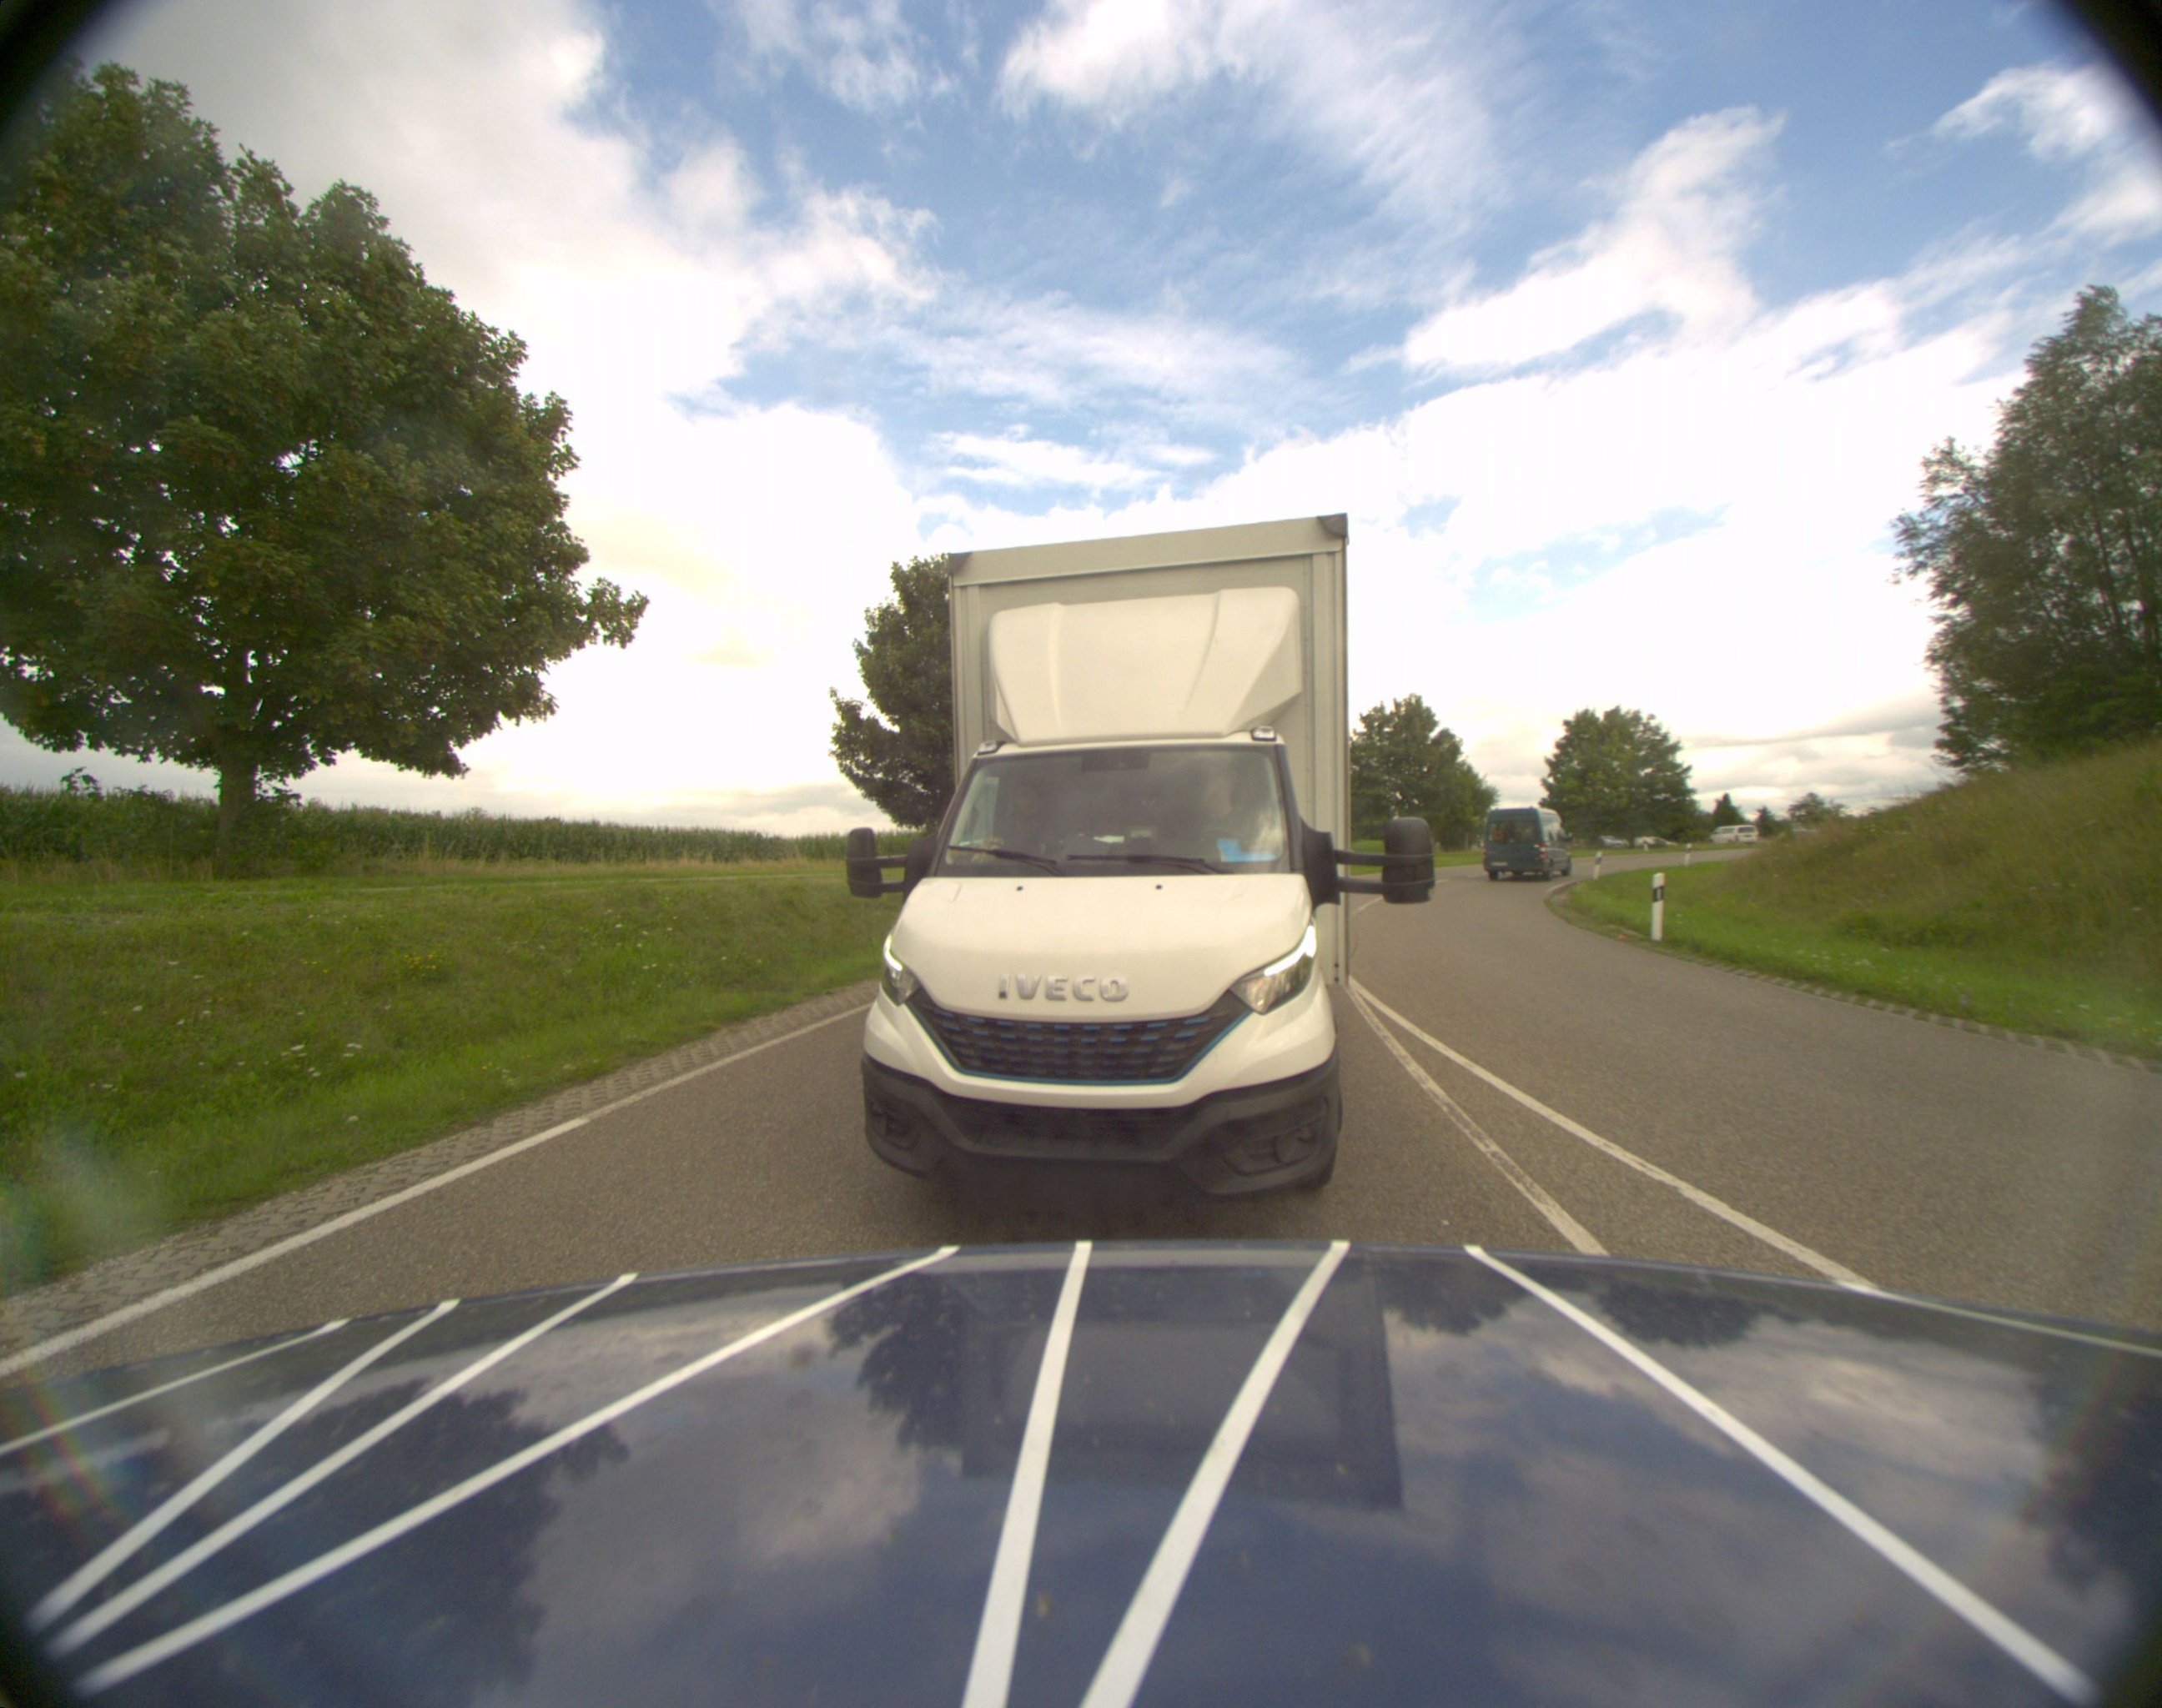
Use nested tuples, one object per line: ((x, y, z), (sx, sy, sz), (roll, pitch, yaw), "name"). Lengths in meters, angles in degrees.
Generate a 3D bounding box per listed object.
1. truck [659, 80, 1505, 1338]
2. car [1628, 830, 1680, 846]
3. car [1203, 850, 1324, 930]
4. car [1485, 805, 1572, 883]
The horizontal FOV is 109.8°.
((0.723, -0.404, 6.853), (2.834, 3.741, 8.807), (-1, 0, 11), "truck")
((64.642, -1.823, 85.754), (4.393, 1.576, 2.003), (-2, 0, 27), "car")
((3.978, 0.683, 16.037), (1.747, 1.457, 4.006), (-2, 0, 24), "car")
((16.641, -0.396, 28.099), (1.994, 2.615, 5.132), (1, 2, 39), "car")
